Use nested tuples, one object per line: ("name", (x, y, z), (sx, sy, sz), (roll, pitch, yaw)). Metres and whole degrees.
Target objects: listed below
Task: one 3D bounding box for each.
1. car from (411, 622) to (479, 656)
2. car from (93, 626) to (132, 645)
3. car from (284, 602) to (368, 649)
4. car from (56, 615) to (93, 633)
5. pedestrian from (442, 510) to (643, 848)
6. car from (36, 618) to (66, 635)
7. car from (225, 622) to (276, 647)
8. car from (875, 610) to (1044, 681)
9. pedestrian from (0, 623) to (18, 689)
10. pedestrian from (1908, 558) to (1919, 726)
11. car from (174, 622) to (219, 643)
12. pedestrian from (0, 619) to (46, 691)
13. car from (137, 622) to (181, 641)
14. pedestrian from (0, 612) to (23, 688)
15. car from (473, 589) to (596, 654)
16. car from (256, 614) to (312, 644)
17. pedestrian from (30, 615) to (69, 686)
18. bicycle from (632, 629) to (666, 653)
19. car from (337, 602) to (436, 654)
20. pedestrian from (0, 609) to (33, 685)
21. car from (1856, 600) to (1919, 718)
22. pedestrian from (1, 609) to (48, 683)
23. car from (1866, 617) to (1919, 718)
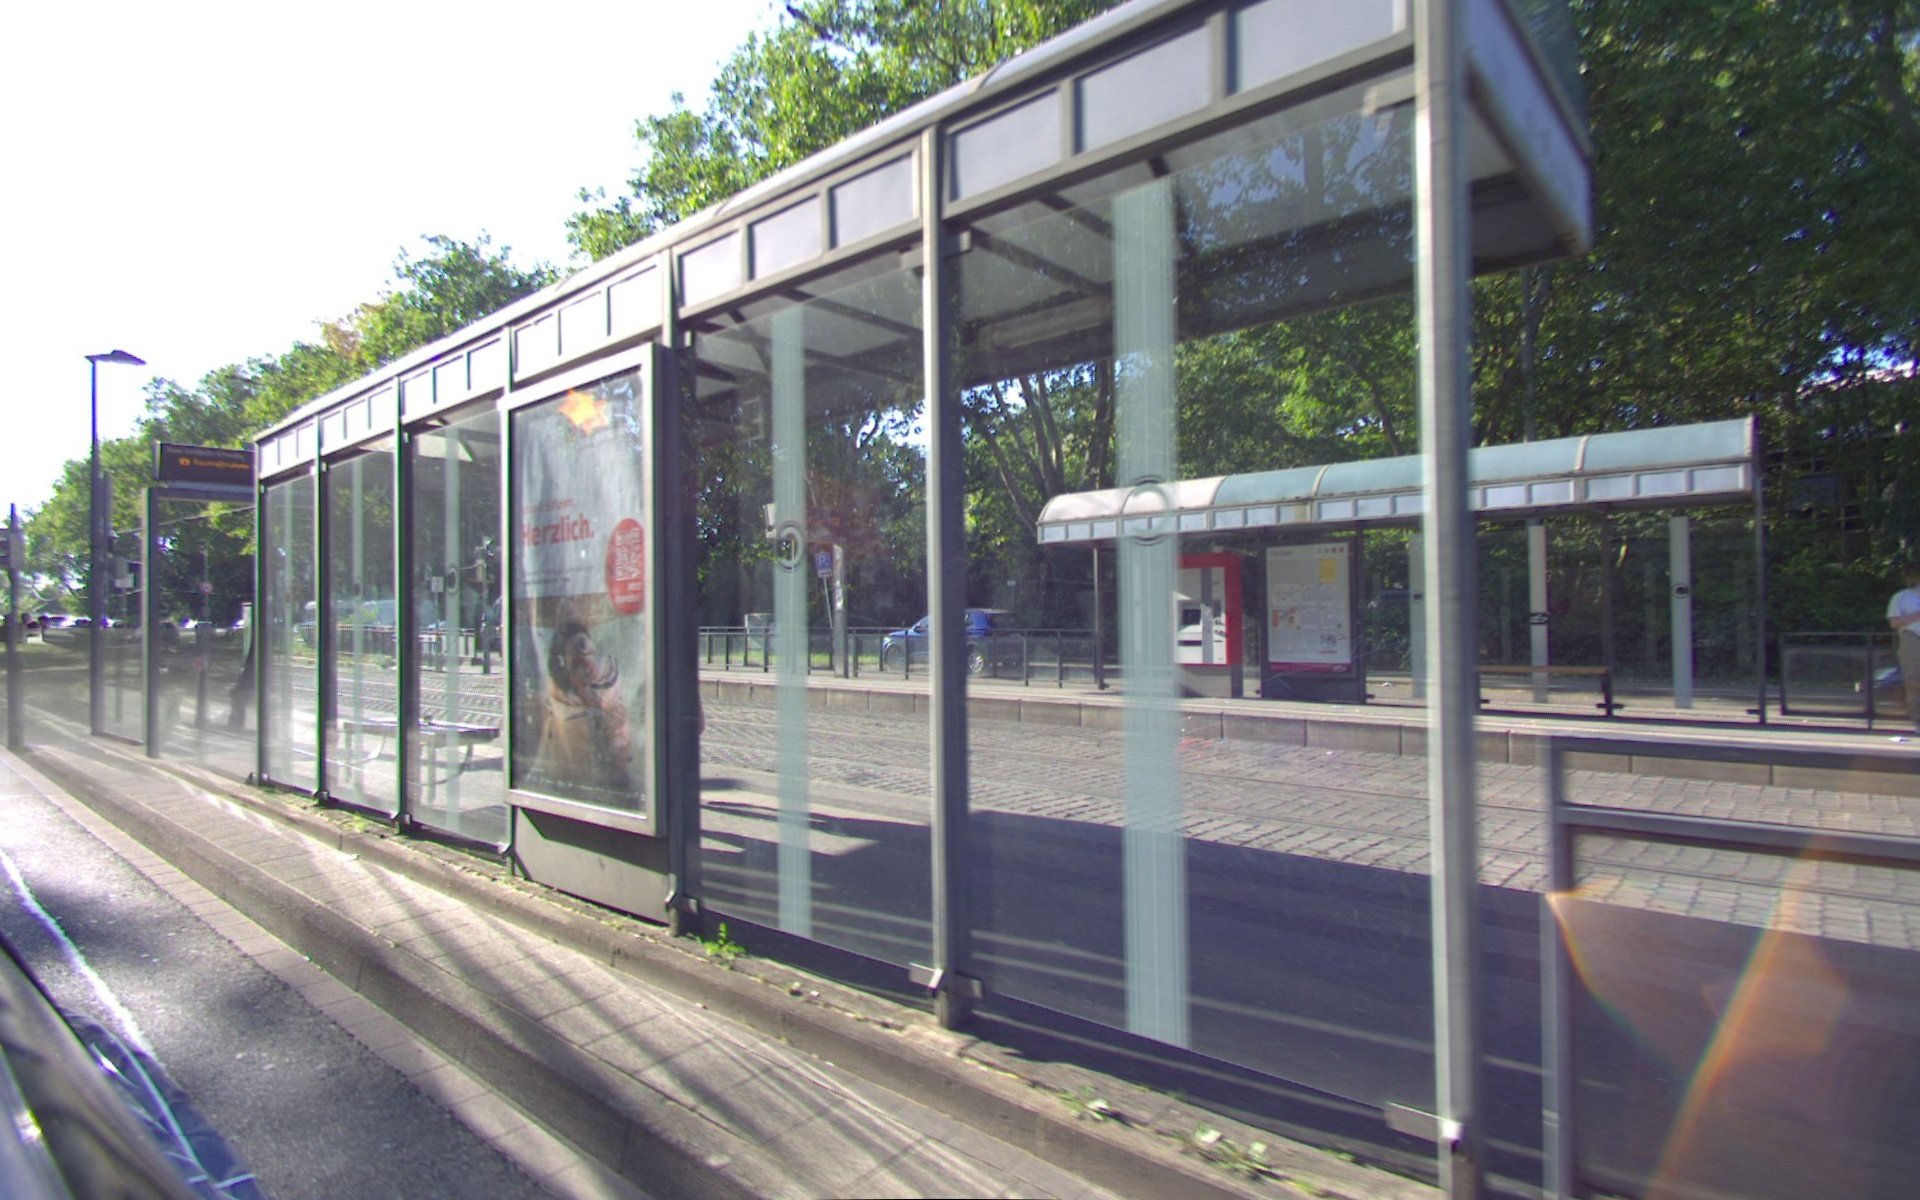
("car", (-24.319, 1.811, 47.739), (3.261, 1.524, 1.636), (0, -2, 38))
("car", (-74.337, 3.099, 88.704), (4.390, 1.517, 1.809), (-1, -2, 39))
("car", (-35.642, 1.423, 56.829), (6.044, 2.540, 2.162), (-1, -2, 39))
("car", (-88.342, 2.372, 100.971), (4.385, 1.732, 1.811), (0, -2, 35))
("pedestrian", (-2.331, 0.396, 5.653), (0.791, 1.707, 0.734), (-1, 0, 42))
("car", (-100.231, 2.906, 111.575), (4.390, 1.854, 1.809), (-1, -2, 39))
("car", (-45.952, 2.212, 65.509), (3.878, 1.567, 1.721), (-1, -2, 39))
("car", (-0.050, 1.107, 25.591), (3.967, 1.664, 1.884), (0, -2, 38))
("pedestrian", (-19.387, 1.133, 20.456), (0.359, 1.331, 0.411), (-1, -3, 41))
("pedestrian", (9.275, 0.384, 9.422), (0.626, 1.555, 0.586), (0, 0, 42))
("car", (-55.369, 2.346, 73.399), (3.848, 1.448, 1.721), (-1, -2, 39))
("pedestrian", (-18.798, 1.089, 20.202), (0.555, 1.417, 0.587), (0, -2, 21))
("car", (-63.442, 2.504, 80.110), (4.320, 1.448, 1.809), (-1, -2, 39))
("pedestrian", (-19.719, 1.024, 20.798), (0.514, 1.531, 0.583), (-1, -3, 42))
("car", (-17.795, 0.898, 42.172), (6.027, 2.540, 2.161), (-1, -2, 40))
("car", (-41.307, 1.762, 61.808), (3.878, 1.741, 1.721), (-1, -2, 39))
("pedestrian", (-19.395, 1.063, 21.560), (0.514, 1.483, 0.514), (-1, -3, 42))
("bicycle", (-13.973, 1.849, 45.446), (1.863, 1.037, 0.575), (-1, -2, 43))
("car", (-29.448, 1.404, 51.907), (6.263, 2.540, 2.162), (0, -2, 38))
("pedestrian", (-20.077, 0.996, 21.384), (0.512, 1.580, 0.509), (2, -2, -19))
("car", (14.258, 0.783, 12.763), (4.337, 1.522, 1.776), (-1, -2, 40))
("pedestrian", (-20.200, 0.994, 21.863), (0.512, 1.580, 0.509), (2, -2, -19))
("car", (14.347, 0.898, 12.715), (4.311, 1.302, 1.752), (-1, -2, 40))
